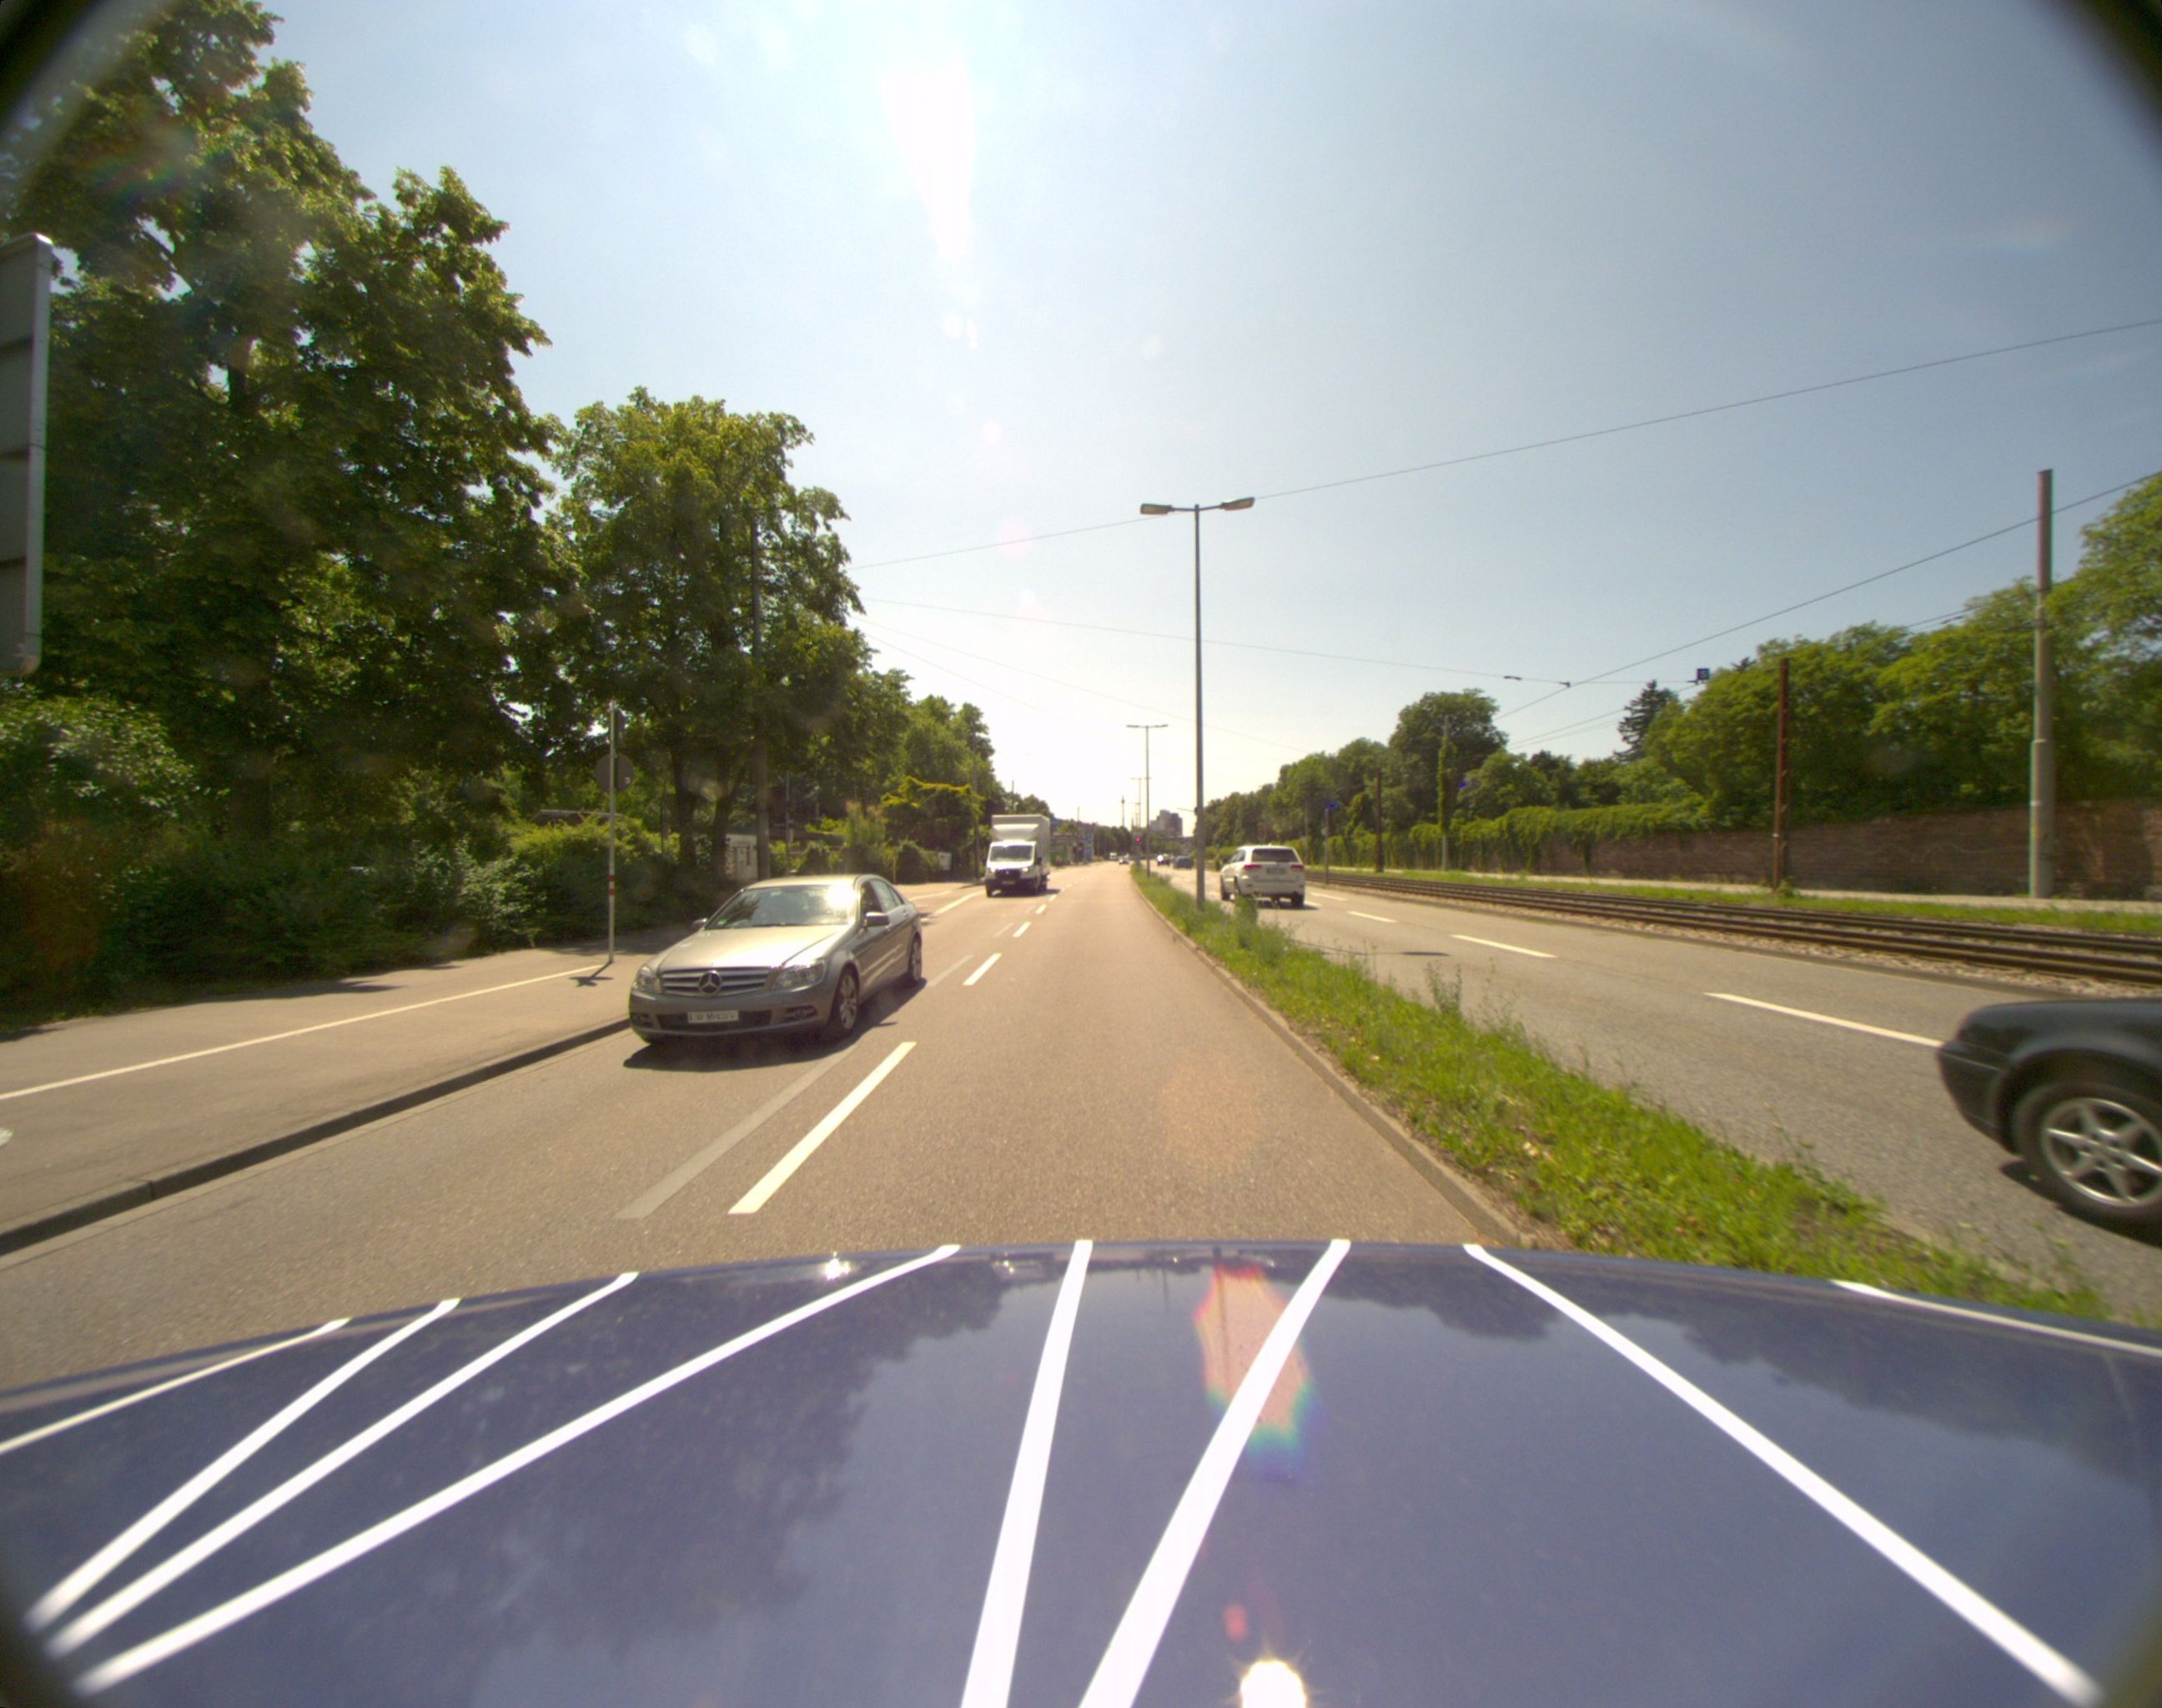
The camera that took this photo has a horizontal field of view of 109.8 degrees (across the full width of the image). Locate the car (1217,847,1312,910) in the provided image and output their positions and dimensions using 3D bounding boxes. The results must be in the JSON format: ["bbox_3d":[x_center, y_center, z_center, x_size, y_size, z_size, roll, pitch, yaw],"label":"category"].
[{"bbox_3d":[5.473,0.672,23.250,1.905,1.738,4.588,0,0,1],"label":"car"}]

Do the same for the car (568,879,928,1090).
[{"bbox_3d":[-2.983,1.076,7.878,1.903,1.451,3.971,-2,0,1],"label":"car"}]

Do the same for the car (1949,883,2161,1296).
[{"bbox_3d":[4.702,0.849,1.413,1.720,1.450,3.914,0,0,0],"label":"car"}]

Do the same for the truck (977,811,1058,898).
[{"bbox_3d":[-2.561,-0.023,33.280,2.294,3.259,8.313,-1,1,3],"label":"truck"}]

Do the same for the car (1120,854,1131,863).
[{"bbox_3d":[8.088,0.823,138.836,1.828,1.556,4.001,-1,0,5],"label":"car"}]

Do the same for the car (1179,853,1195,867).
[{"bbox_3d":[11.497,0.669,82.852,1.698,1.462,3.793,0,0,7],"label":"car"}]

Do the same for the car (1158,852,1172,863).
[{"bbox_3d":[12.307,0.534,111.344,1.765,1.512,4.097,0,0,2],"label":"car"}]

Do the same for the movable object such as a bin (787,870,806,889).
[{"bbox_3d":[-14.420,1.291,38.512,0.630,0.898,0.637,-1,1,4],"label":"movable object such as a bin"}]
